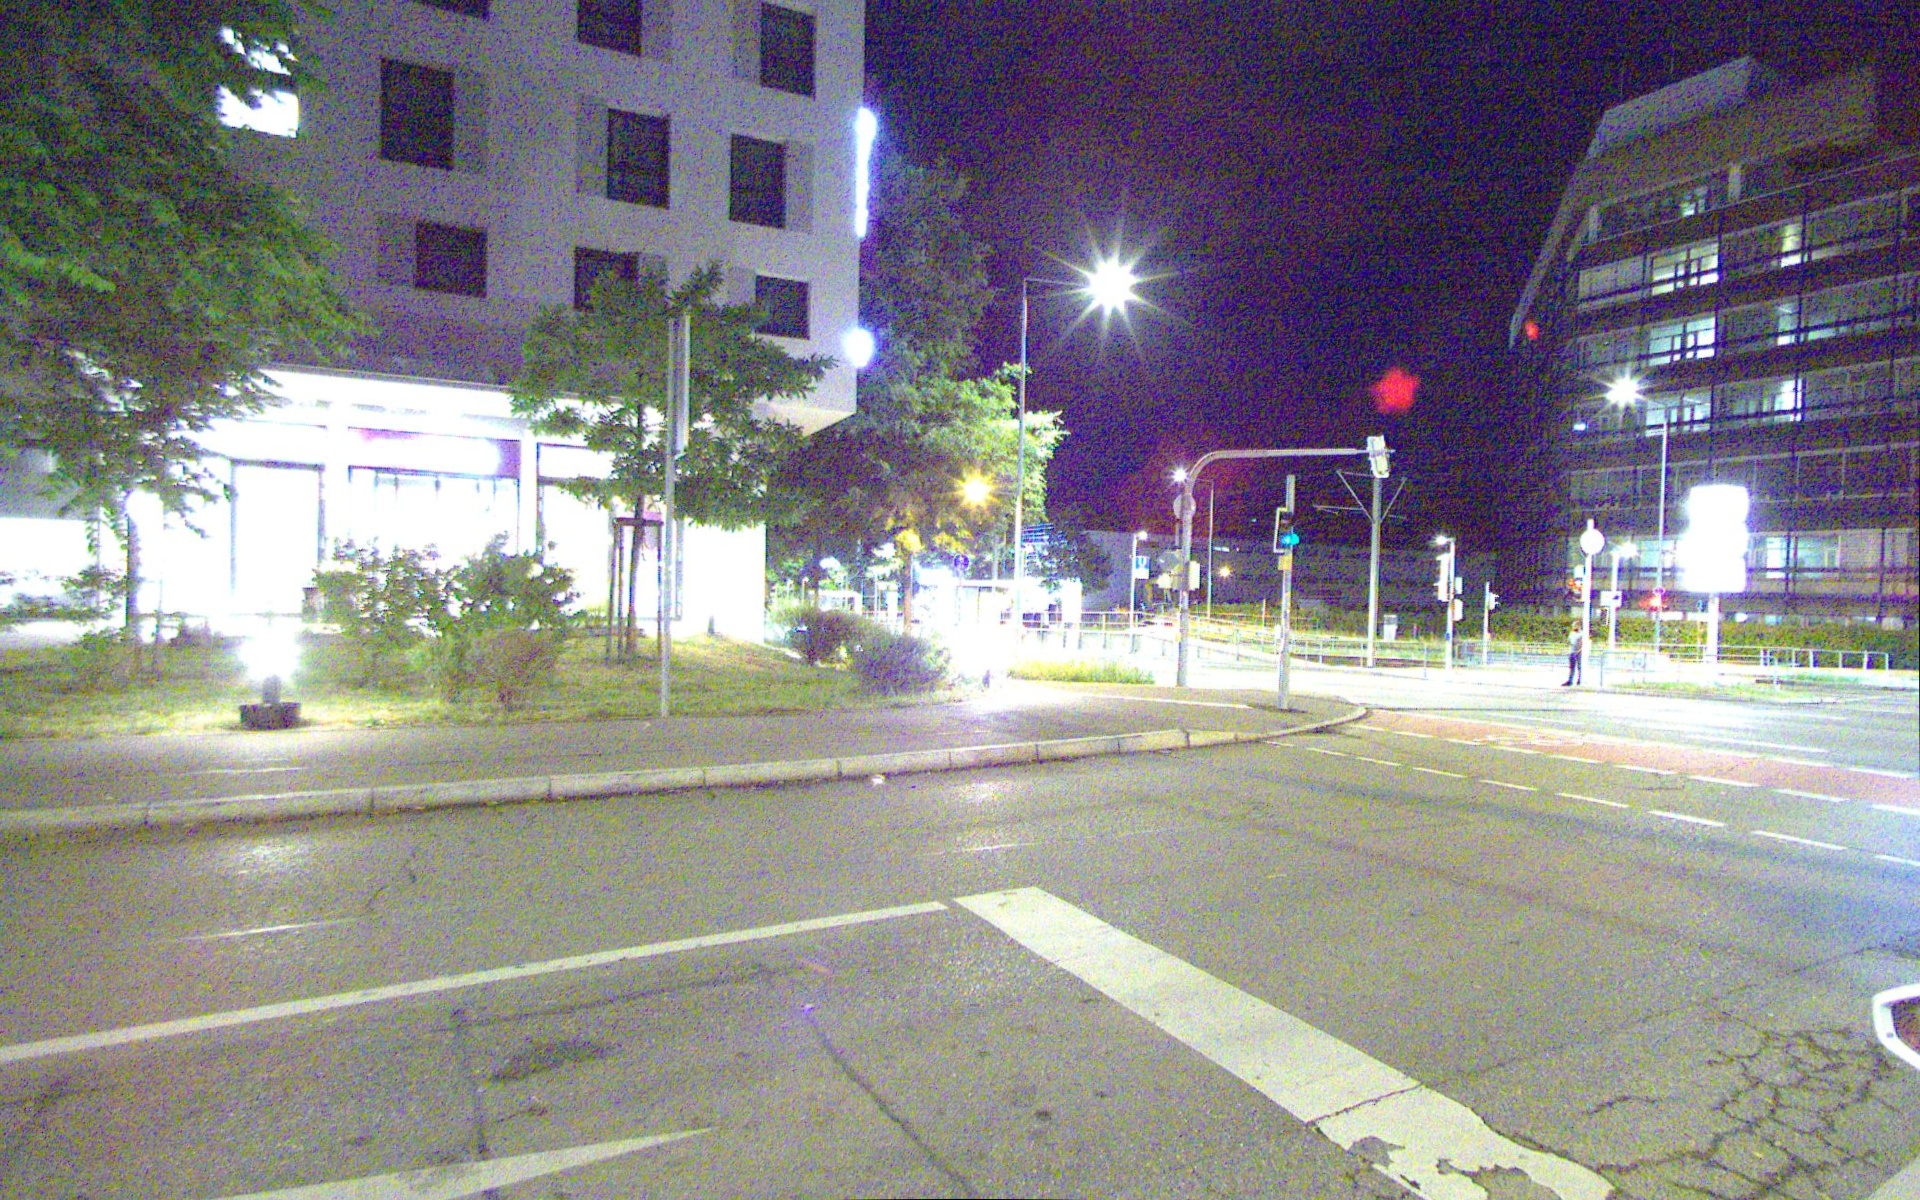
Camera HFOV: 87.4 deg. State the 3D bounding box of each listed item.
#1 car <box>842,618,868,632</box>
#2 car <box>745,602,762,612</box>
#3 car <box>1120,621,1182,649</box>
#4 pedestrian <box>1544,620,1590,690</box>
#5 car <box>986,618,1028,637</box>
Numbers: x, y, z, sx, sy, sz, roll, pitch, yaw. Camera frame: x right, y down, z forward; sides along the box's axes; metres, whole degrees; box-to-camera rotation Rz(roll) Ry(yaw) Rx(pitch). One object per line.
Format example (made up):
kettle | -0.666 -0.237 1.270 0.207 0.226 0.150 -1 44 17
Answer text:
car | -12.451 2.975 119.388 1.845 1.506 3.822 3 0 -26
car | -33.467 1.115 162.935 1.845 1.506 3.822 3 0 -26
car | 13.234 2.415 69.860 1.916 1.665 4.382 3 0 -26
pedestrian | 15.636 1.411 25.880 0.693 1.745 0.679 2 0 -4
car | 4.195 2.402 89.849 1.755 1.506 4.559 1 0 -26
